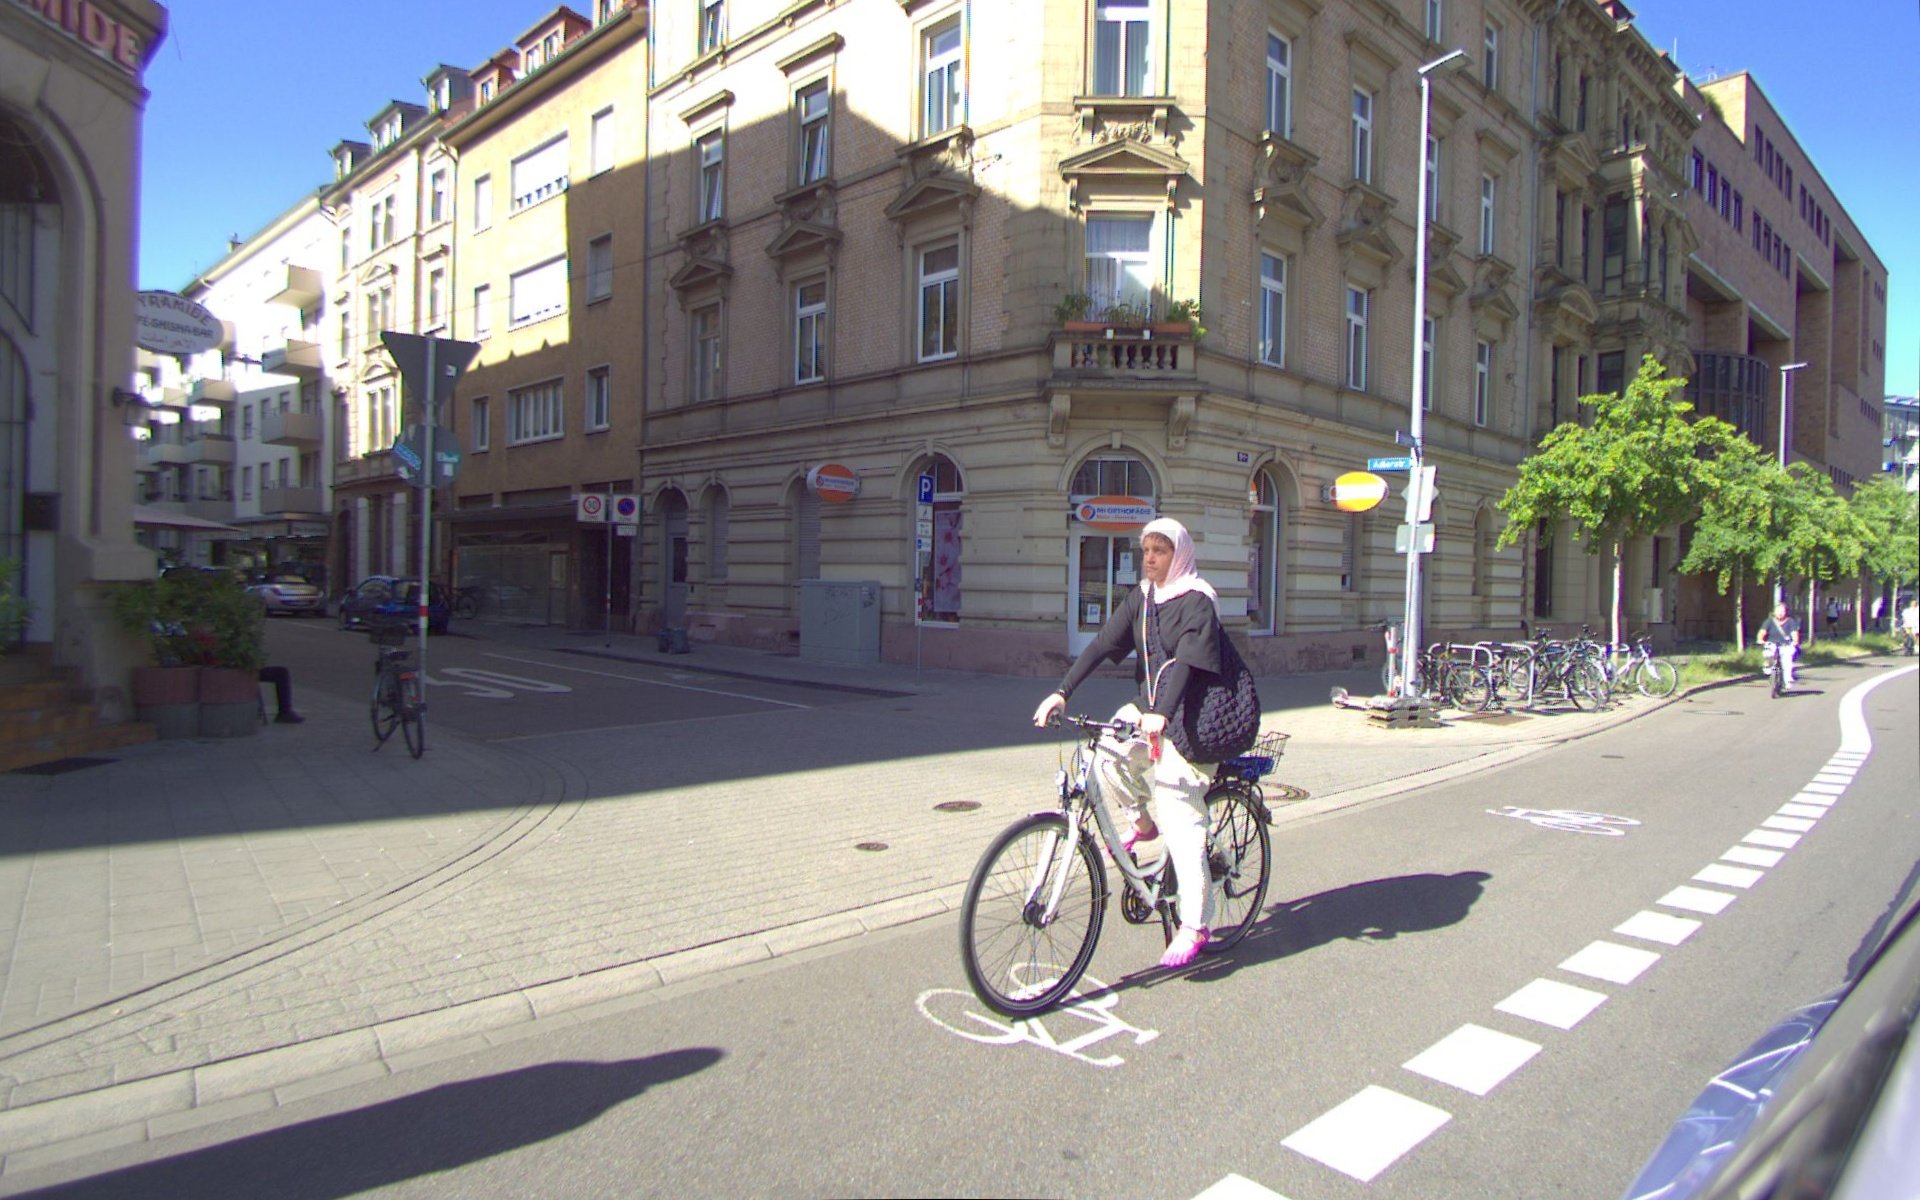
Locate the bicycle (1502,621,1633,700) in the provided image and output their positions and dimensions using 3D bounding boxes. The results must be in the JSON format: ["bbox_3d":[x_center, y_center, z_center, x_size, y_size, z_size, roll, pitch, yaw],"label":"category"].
[{"bbox_3d":[9.525,0.920,15.914,0.595,1.058,1.605,1,3,-37],"label":"bicycle"}]

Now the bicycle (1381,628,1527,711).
[{"bbox_3d":[6.644,0.906,13.695,0.595,0.955,1.677,1,1,-33],"label":"bicycle"}]

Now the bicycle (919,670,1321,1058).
[{"bbox_3d":[0.698,0.876,3.953,1.761,1.106,0.558,0,-1,-42],"label":"bicycle"}]

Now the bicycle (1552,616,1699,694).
[{"bbox_3d":[11.507,0.919,17.544,1.993,1.106,0.835,5,3,40],"label":"bicycle"}]

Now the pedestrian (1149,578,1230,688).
[{"bbox_3d":[3.402,0.461,15.003,0.909,1.561,0.712,0,1,-34],"label":"pedestrian"}]

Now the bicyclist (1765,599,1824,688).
[{"bbox_3d":[14.962,0.756,18.141,0.893,1.557,0.658,1,-1,-41],"label":"bicyclist"}]

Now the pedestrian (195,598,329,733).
[{"bbox_3d":[-6.840,0.598,9.921,0.849,1.229,0.920,0,0,43],"label":"pedestrian"}]

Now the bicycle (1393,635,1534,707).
[{"bbox_3d":[7.048,0.967,14.231,0.595,0.831,1.677,1,2,-33],"label":"bicycle"}]

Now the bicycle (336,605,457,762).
[{"bbox_3d":[-5.028,0.686,8.968,0.641,1.186,1.823,5,-1,-36],"label":"bicycle"}]

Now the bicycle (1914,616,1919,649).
[{"bbox_3d":[33.689,1.133,35.177,1.480,1.110,0.578,0,-1,-39],"label":"bicycle"}]

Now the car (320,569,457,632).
[{"bbox_3d":[-14.712,-0.004,25.990,3.983,1.438,1.775,2,-1,40],"label":"car"}]

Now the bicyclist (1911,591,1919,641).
[{"bbox_3d":[33.561,0.554,35.105,0.893,1.751,0.684,1,-1,-39],"label":"bicyclist"}]

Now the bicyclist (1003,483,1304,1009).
[{"bbox_3d":[0.747,0.482,3.919,0.853,1.733,0.780,1,-1,-41],"label":"bicyclist"}]

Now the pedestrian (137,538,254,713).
[{"bbox_3d":[-8.267,0.254,10.945,0.906,1.783,0.854,0,0,43],"label":"pedestrian"}]

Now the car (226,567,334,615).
[{"bbox_3d":[-21.376,-0.287,31.775,3.983,1.351,1.775,2,-1,40],"label":"car"}]

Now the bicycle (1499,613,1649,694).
[{"bbox_3d":[10.282,0.860,17.018,0.697,1.142,2.001,1,3,-39],"label":"bicycle"}]

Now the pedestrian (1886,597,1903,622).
[{"bbox_3d":[56.861,0.591,61.573,0.723,1.505,0.633,0,1,-41],"label":"pedestrian"}]

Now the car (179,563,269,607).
[{"bbox_3d":[-26.036,-0.544,35.760,3.757,1.450,1.776,2,1,40],"label":"car"}]

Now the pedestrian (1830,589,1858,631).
[{"bbox_3d":[40.471,0.441,46.333,1.087,1.906,0.789,0,1,-41],"label":"pedestrian"}]

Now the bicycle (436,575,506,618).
[{"bbox_3d":[-14.414,-0.120,29.805,1.988,1.193,0.629,1,1,19],"label":"bicycle"}]

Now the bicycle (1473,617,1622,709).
[{"bbox_3d":[8.516,0.881,14.738,0.595,1.114,1.729,1,3,-37],"label":"bicycle"}]

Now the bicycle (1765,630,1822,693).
[{"bbox_3d":[14.930,1.076,18.118,1.481,1.040,0.558,0,-1,-41],"label":"bicycle"}]

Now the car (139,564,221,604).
[{"bbox_3d":[-30.111,-0.646,39.050,3.757,1.450,1.776,2,1,40],"label":"car"}]

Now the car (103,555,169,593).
[{"bbox_3d":[-37.558,-1.187,46.109,3.758,1.686,1.775,2,1,42],"label":"car"}]

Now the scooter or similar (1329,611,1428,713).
[{"bbox_3d":[5.378,0.769,13.055,0.411,1.204,1.115,1,1,-33],"label":"scooter or similar"}]
